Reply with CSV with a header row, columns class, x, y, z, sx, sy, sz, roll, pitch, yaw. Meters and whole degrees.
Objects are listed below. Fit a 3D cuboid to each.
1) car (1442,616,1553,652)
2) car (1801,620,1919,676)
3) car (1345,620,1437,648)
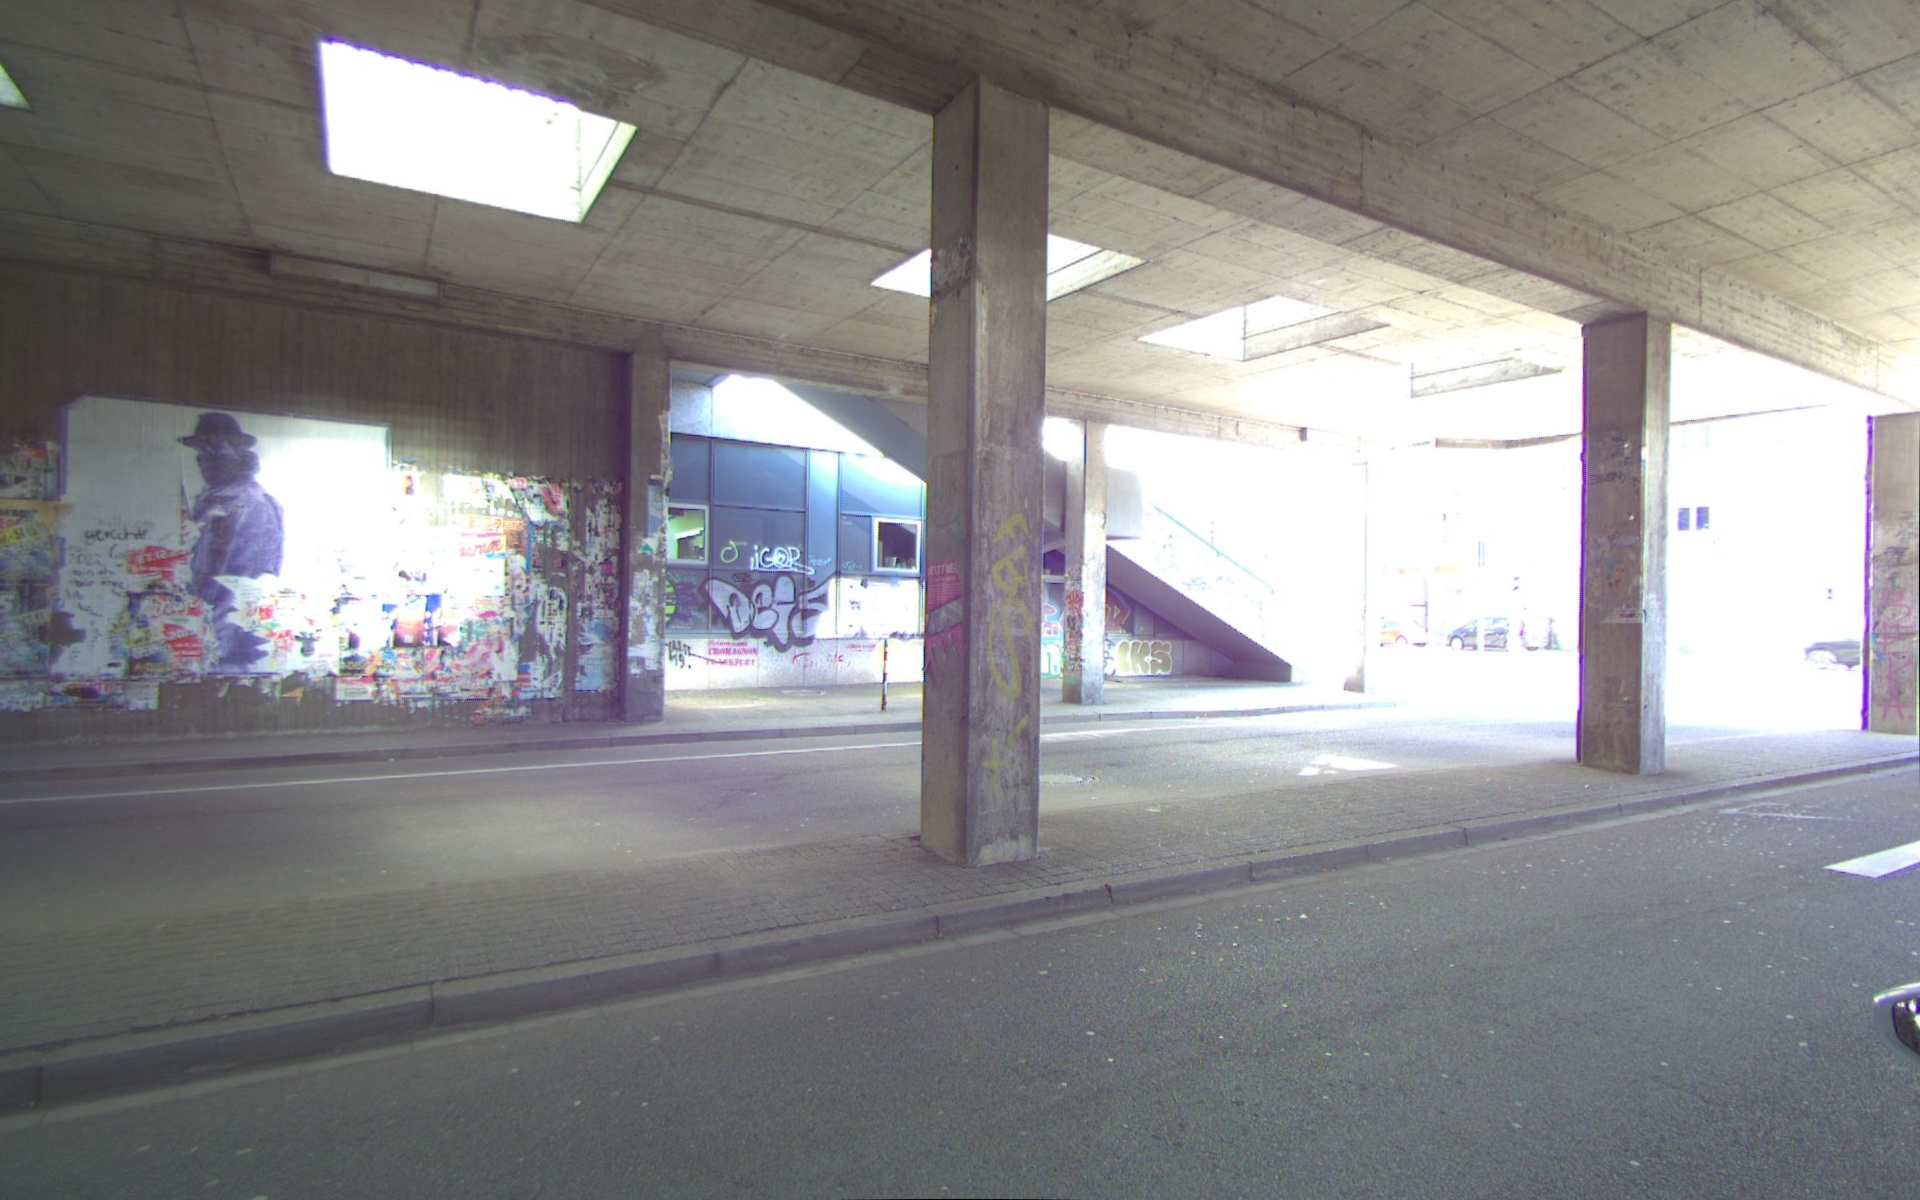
class,x,y,z,sx,sy,sz,roll,pitch,yaw
car,25.459,1.581,47.682,2.240,1.571,4.111,1,-1,-29
car,28.126,1.412,29.919,1.857,1.572,4.373,1,-1,-24
car,22.539,1.769,52.694,2.163,1.392,3.971,1,-1,-28
